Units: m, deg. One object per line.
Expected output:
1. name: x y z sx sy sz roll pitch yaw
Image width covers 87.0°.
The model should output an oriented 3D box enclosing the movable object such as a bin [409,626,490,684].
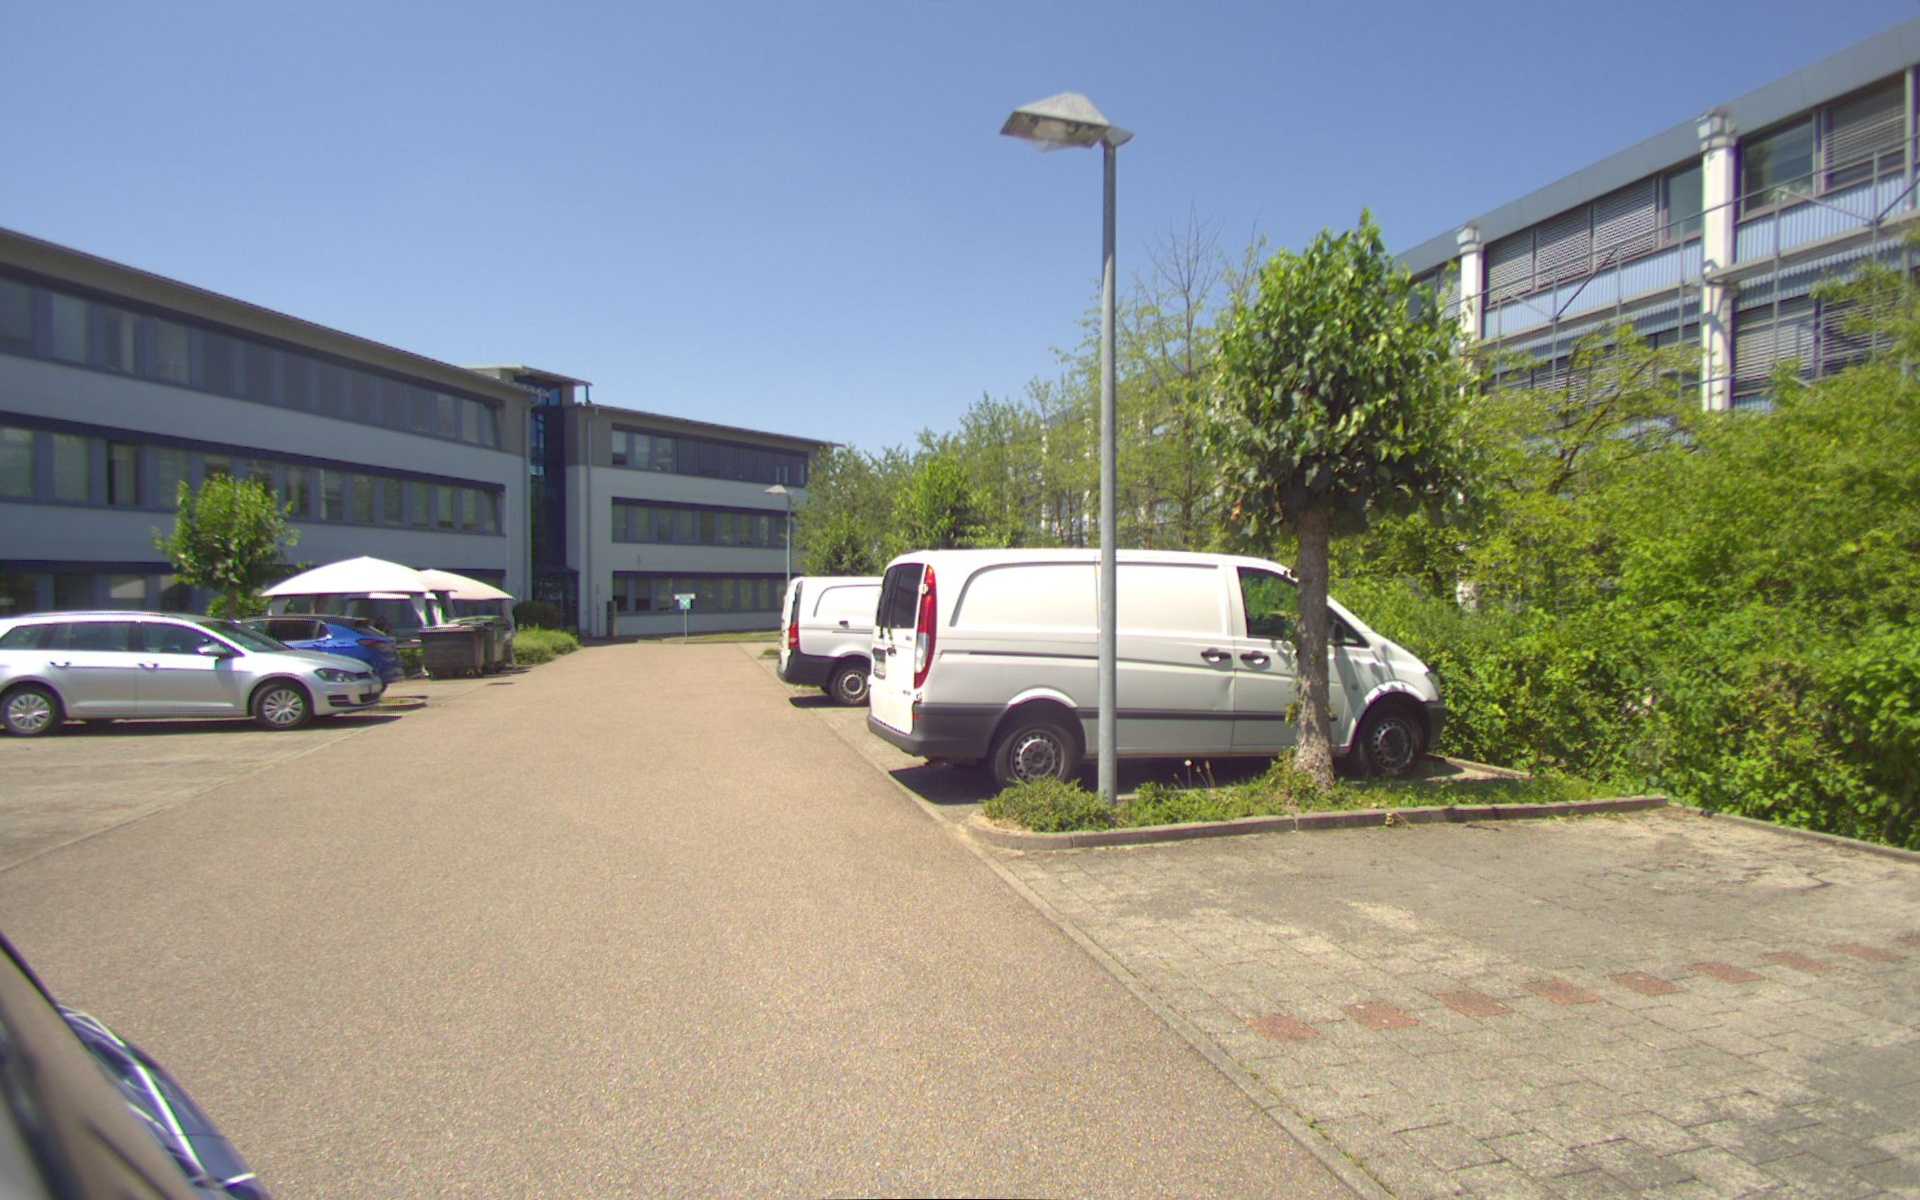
1. movable object such as a bin: -11.046 1.169 21.960 1.342 1.198 0.999 0 -1 -10

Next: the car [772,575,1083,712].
1. car: -0.545 0.599 15.595 4.444 1.896 1.834 0 -1 -16

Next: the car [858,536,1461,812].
1. car: 1.618 0.507 8.582 4.655 1.920 1.835 0 -1 -16

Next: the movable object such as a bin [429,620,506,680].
1. movable object such as a bin: -11.184 1.113 23.017 1.342 1.306 1.045 0 -1 -10

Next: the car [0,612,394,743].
1. car: -9.960 0.923 12.947 4.443 1.508 1.834 1 -1 -16

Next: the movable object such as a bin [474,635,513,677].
1. movable object such as a bin: -11.054 1.317 23.982 0.680 0.956 0.724 0 -1 -10

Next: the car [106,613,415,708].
1. car: -11.139 0.948 16.401 3.762 1.402 1.657 1 -1 -16

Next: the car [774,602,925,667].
1. car: -2.919 0.867 26.519 3.701 1.569 1.666 0 -1 -16
